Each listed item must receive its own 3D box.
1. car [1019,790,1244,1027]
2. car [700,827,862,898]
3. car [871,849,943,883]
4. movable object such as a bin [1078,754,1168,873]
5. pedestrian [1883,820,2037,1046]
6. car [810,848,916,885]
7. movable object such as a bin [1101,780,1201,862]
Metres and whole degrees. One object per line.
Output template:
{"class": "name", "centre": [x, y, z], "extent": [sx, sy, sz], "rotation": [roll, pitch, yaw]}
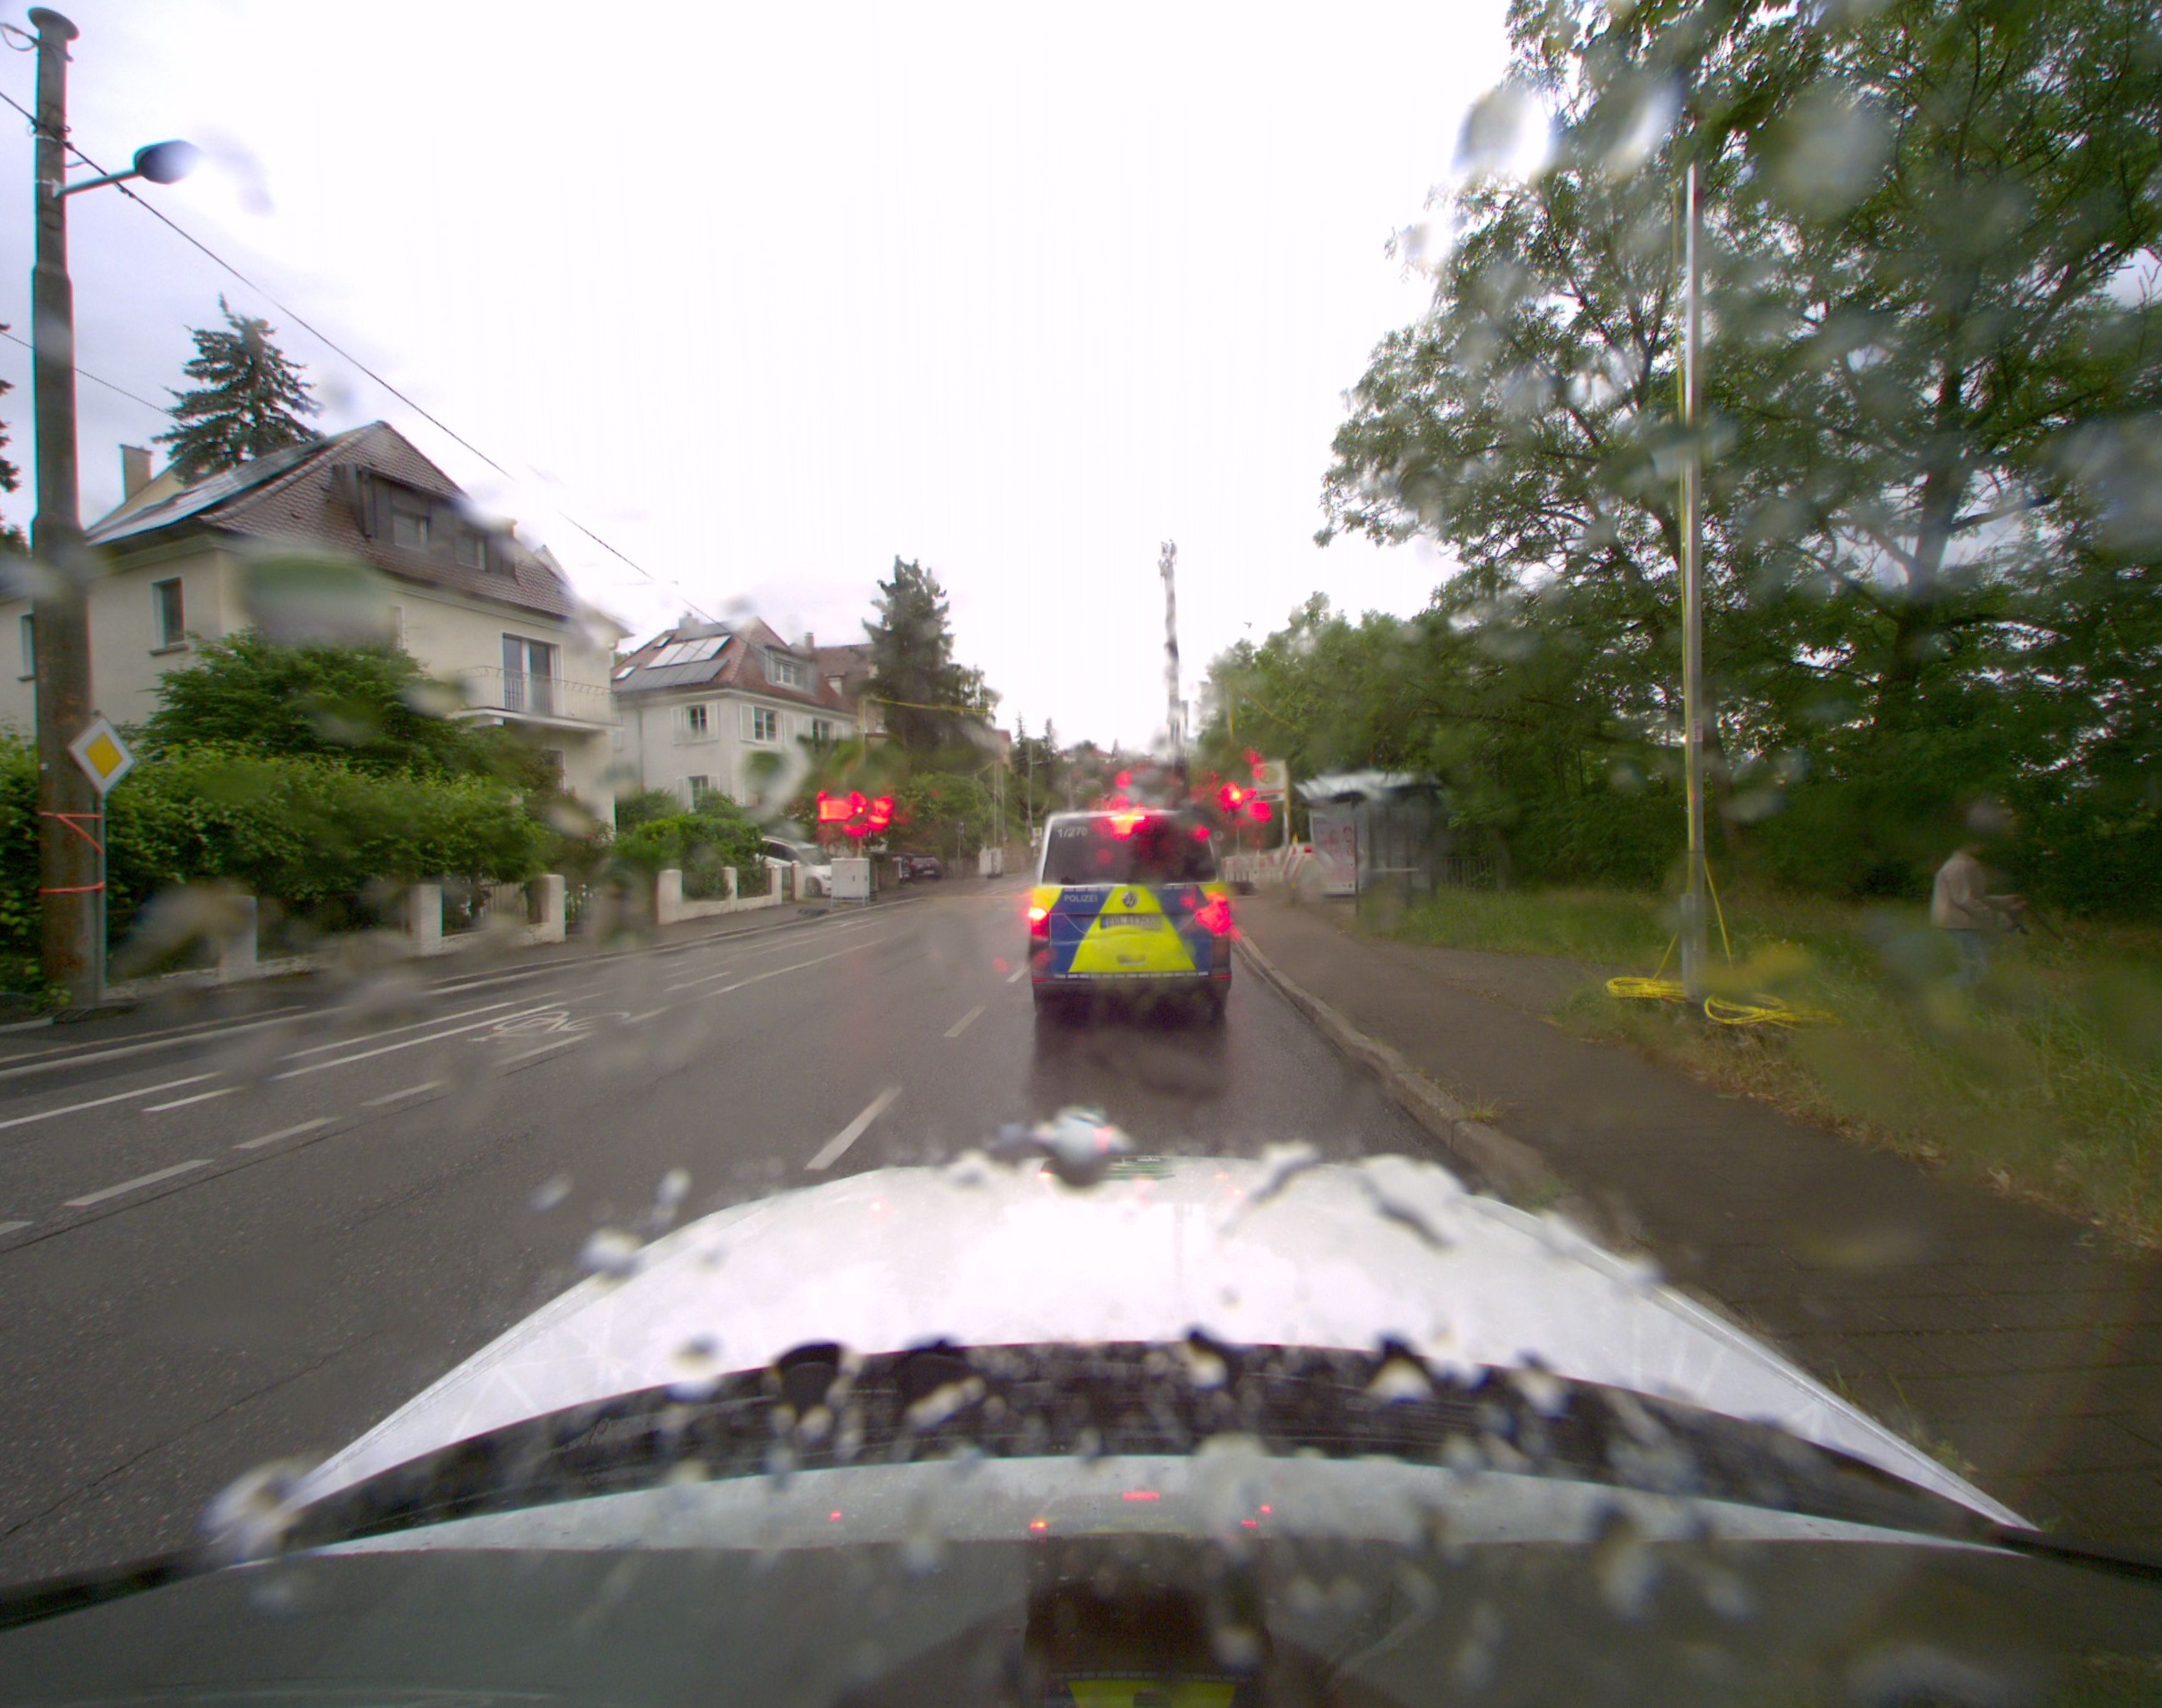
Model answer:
{"class": "car", "centre": [0.497, 0.486, 9.170], "extent": [1.901, 2.010, 4.441], "rotation": [0, -1, 2]}
{"class": "car", "centre": [-10.333, 0.233, 28.121], "extent": [4.927, 1.616, 1.872], "rotation": [9, 4, 15]}
{"class": "car", "centre": [-8.162, 0.537, 38.056], "extent": [1.795, 1.525, 3.955], "rotation": [0, 0, -37]}
{"class": "movable object such as a bin", "centre": [1.751, -1.489, 31.722], "extent": [2.862, 4.170, 4.499], "rotation": [-2, 1, 9]}
{"class": "pedestrian", "centre": [6.760, 0.565, 6.310], "extent": [0.743, 1.604, 0.737], "rotation": [-1, -1, 44]}
{"class": "car", "centre": [-9.382, 0.540, 35.168], "extent": [3.958, 1.525, 1.948], "rotation": [-1, -1, 15]}
{"class": "movable object such as a bin", "centre": [4.927, -2.156, 55.935], "extent": [3.646, 5.066, 7.209], "rotation": [-3, -1, 34]}
